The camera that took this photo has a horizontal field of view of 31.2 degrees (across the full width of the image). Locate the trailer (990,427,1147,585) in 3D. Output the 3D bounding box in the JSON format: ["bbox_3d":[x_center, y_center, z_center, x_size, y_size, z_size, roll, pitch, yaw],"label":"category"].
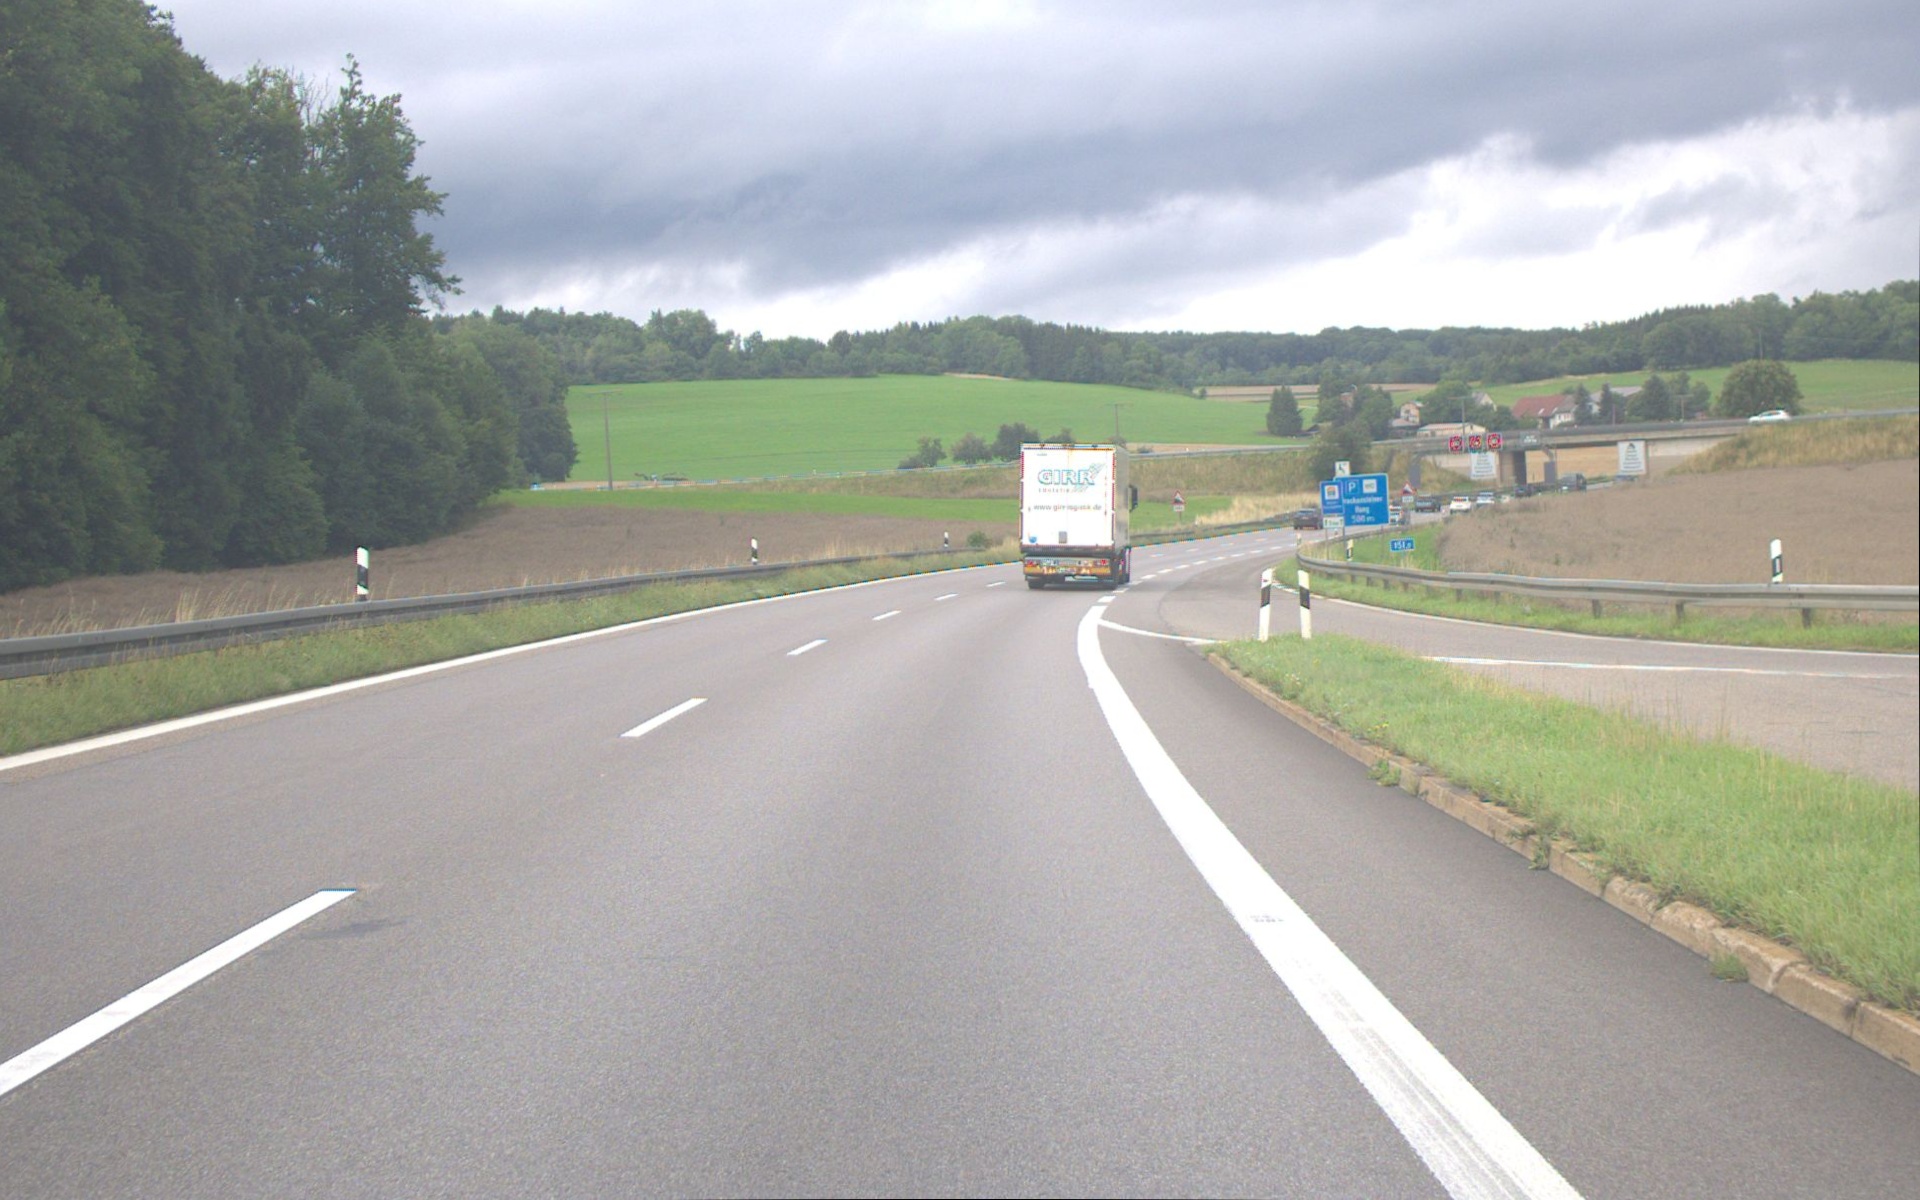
[{"bbox_3d":[3.290,-2.667,98.699,3.806,4.160,14.806,1,1,4],"label":"trailer"}]

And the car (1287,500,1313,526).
[{"bbox_3d":[25.810,-6.619,261.171,1.903,1.789,3.999,-1,-1,7],"label":"car"}]

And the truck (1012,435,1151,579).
[{"bbox_3d":[3.825,-2.852,105.938,3.788,4.117,8.264,2,1,5],"label":"truck"}]
